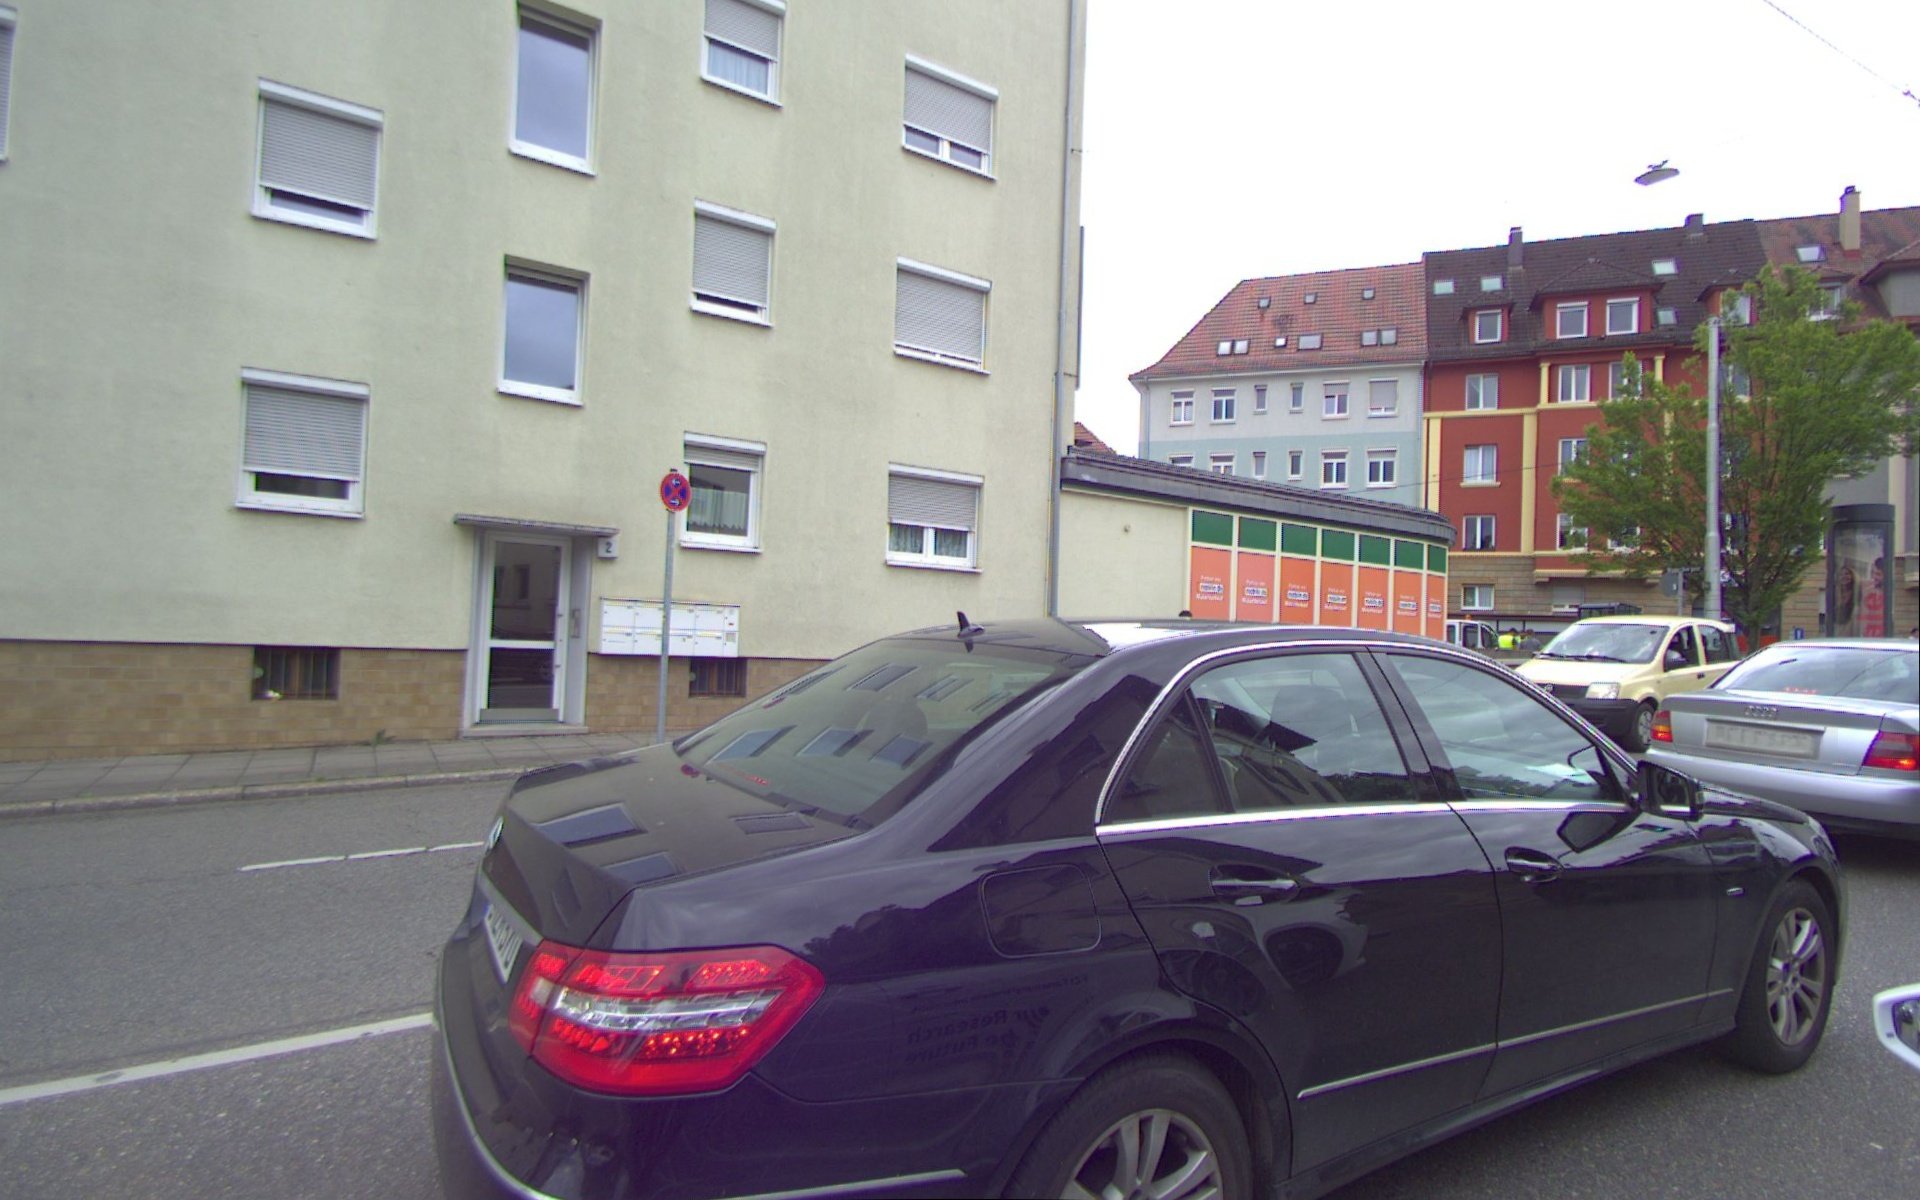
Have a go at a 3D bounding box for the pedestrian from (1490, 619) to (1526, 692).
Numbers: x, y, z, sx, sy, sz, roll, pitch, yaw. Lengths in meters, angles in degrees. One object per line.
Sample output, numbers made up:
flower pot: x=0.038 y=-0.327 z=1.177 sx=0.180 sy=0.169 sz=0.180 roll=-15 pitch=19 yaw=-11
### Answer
pedestrian: x=15.585 y=1.568 z=28.574 sx=0.810 sy=2.040 sz=0.680 roll=0 pitch=0 yaw=22

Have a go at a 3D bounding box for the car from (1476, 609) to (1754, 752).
car: x=8.101 y=0.933 z=12.373 sx=3.421 sy=1.537 sz=1.589 roll=2 pitch=-3 yaw=-32

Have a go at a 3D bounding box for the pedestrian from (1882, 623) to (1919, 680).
pedestrian: x=26.841 y=1.460 z=28.447 sx=0.724 sy=1.567 sz=0.795 roll=1 pitch=0 yaw=-2

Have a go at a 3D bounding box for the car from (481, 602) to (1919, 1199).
car: x=1.111 y=0.773 z=3.385 sx=4.785 sy=1.448 sz=1.984 roll=1 pitch=0 yaw=-30

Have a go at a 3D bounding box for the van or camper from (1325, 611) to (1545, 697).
van or camper: x=14.533 y=1.575 z=31.018 sx=5.894 sy=2.369 sz=2.686 roll=0 pitch=-1 yaw=26

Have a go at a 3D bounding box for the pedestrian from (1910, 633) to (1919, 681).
pedestrian: x=27.587 y=1.618 z=28.570 sx=0.572 sy=1.356 sz=0.576 roll=1 pitch=-1 yaw=-1

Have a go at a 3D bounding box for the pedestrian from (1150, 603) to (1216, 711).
pedestrian: x=3.558 y=0.889 z=16.036 sx=0.770 sy=1.658 sz=0.684 roll=1 pitch=0 yaw=-33

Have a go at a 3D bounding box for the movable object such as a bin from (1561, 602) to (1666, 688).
movable object such as a bin: x=16.552 y=1.109 z=25.382 sx=3.510 sy=2.040 sz=1.363 roll=2 pitch=-2 yaw=-42

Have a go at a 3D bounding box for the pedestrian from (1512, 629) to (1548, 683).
pedestrian: x=14.832 y=1.450 z=26.150 sx=0.613 sy=1.381 sz=0.602 roll=0 pitch=-1 yaw=4

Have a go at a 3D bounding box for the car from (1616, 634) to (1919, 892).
car: x=6.696 y=0.941 z=7.048 sx=4.072 sy=1.383 sz=1.624 roll=1 pitch=-2 yaw=-25
